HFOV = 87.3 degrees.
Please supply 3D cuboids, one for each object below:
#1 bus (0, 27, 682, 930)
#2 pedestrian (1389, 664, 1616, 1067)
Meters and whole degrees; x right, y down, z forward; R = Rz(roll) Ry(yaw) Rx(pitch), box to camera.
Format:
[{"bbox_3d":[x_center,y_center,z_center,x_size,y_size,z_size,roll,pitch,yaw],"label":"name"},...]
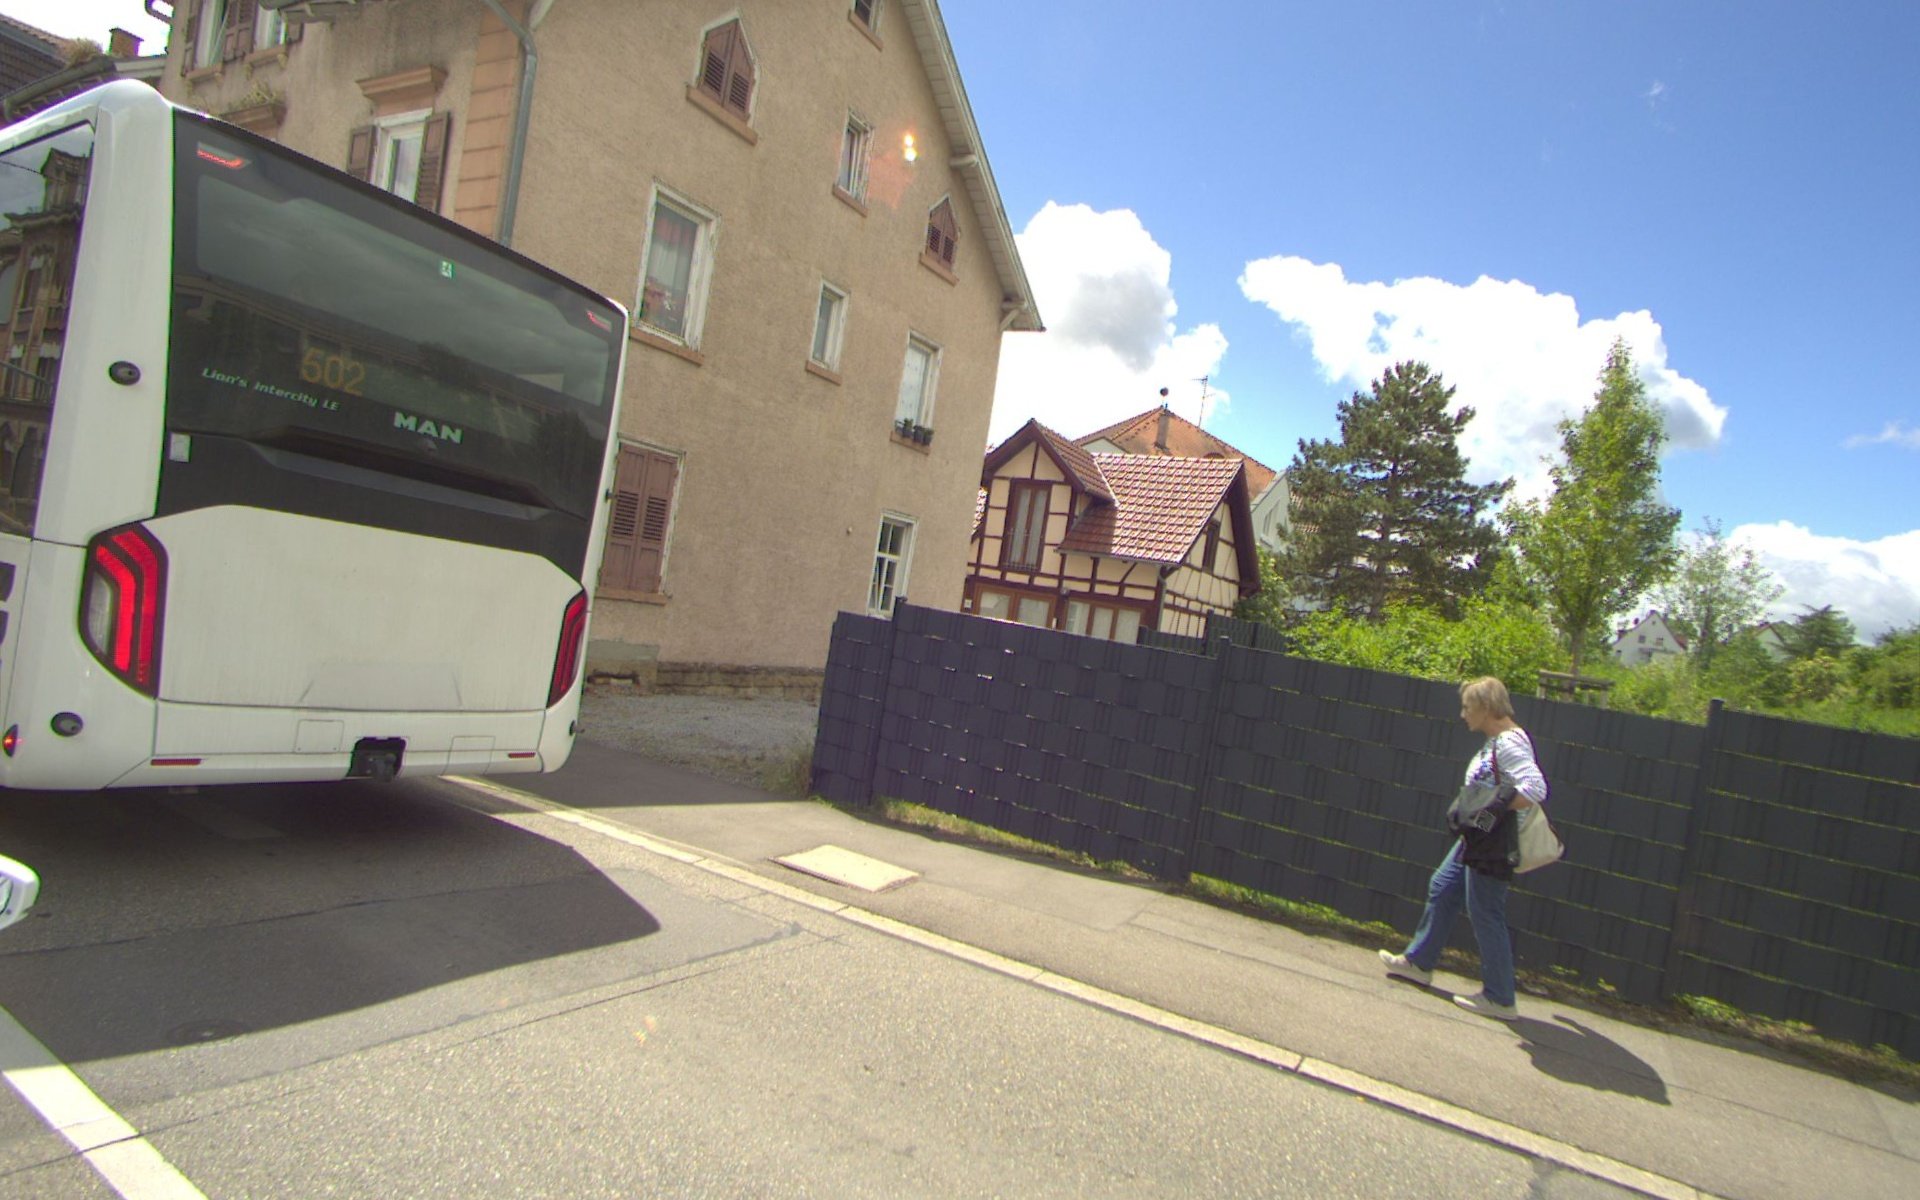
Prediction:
[{"bbox_3d":[-7.663,-0.914,7.905,12.255,3.192,2.678,7,-1,32],"label":"bus"},{"bbox_3d":[2.527,1.137,4.687,0.700,1.581,0.860,7,1,31],"label":"pedestrian"}]
